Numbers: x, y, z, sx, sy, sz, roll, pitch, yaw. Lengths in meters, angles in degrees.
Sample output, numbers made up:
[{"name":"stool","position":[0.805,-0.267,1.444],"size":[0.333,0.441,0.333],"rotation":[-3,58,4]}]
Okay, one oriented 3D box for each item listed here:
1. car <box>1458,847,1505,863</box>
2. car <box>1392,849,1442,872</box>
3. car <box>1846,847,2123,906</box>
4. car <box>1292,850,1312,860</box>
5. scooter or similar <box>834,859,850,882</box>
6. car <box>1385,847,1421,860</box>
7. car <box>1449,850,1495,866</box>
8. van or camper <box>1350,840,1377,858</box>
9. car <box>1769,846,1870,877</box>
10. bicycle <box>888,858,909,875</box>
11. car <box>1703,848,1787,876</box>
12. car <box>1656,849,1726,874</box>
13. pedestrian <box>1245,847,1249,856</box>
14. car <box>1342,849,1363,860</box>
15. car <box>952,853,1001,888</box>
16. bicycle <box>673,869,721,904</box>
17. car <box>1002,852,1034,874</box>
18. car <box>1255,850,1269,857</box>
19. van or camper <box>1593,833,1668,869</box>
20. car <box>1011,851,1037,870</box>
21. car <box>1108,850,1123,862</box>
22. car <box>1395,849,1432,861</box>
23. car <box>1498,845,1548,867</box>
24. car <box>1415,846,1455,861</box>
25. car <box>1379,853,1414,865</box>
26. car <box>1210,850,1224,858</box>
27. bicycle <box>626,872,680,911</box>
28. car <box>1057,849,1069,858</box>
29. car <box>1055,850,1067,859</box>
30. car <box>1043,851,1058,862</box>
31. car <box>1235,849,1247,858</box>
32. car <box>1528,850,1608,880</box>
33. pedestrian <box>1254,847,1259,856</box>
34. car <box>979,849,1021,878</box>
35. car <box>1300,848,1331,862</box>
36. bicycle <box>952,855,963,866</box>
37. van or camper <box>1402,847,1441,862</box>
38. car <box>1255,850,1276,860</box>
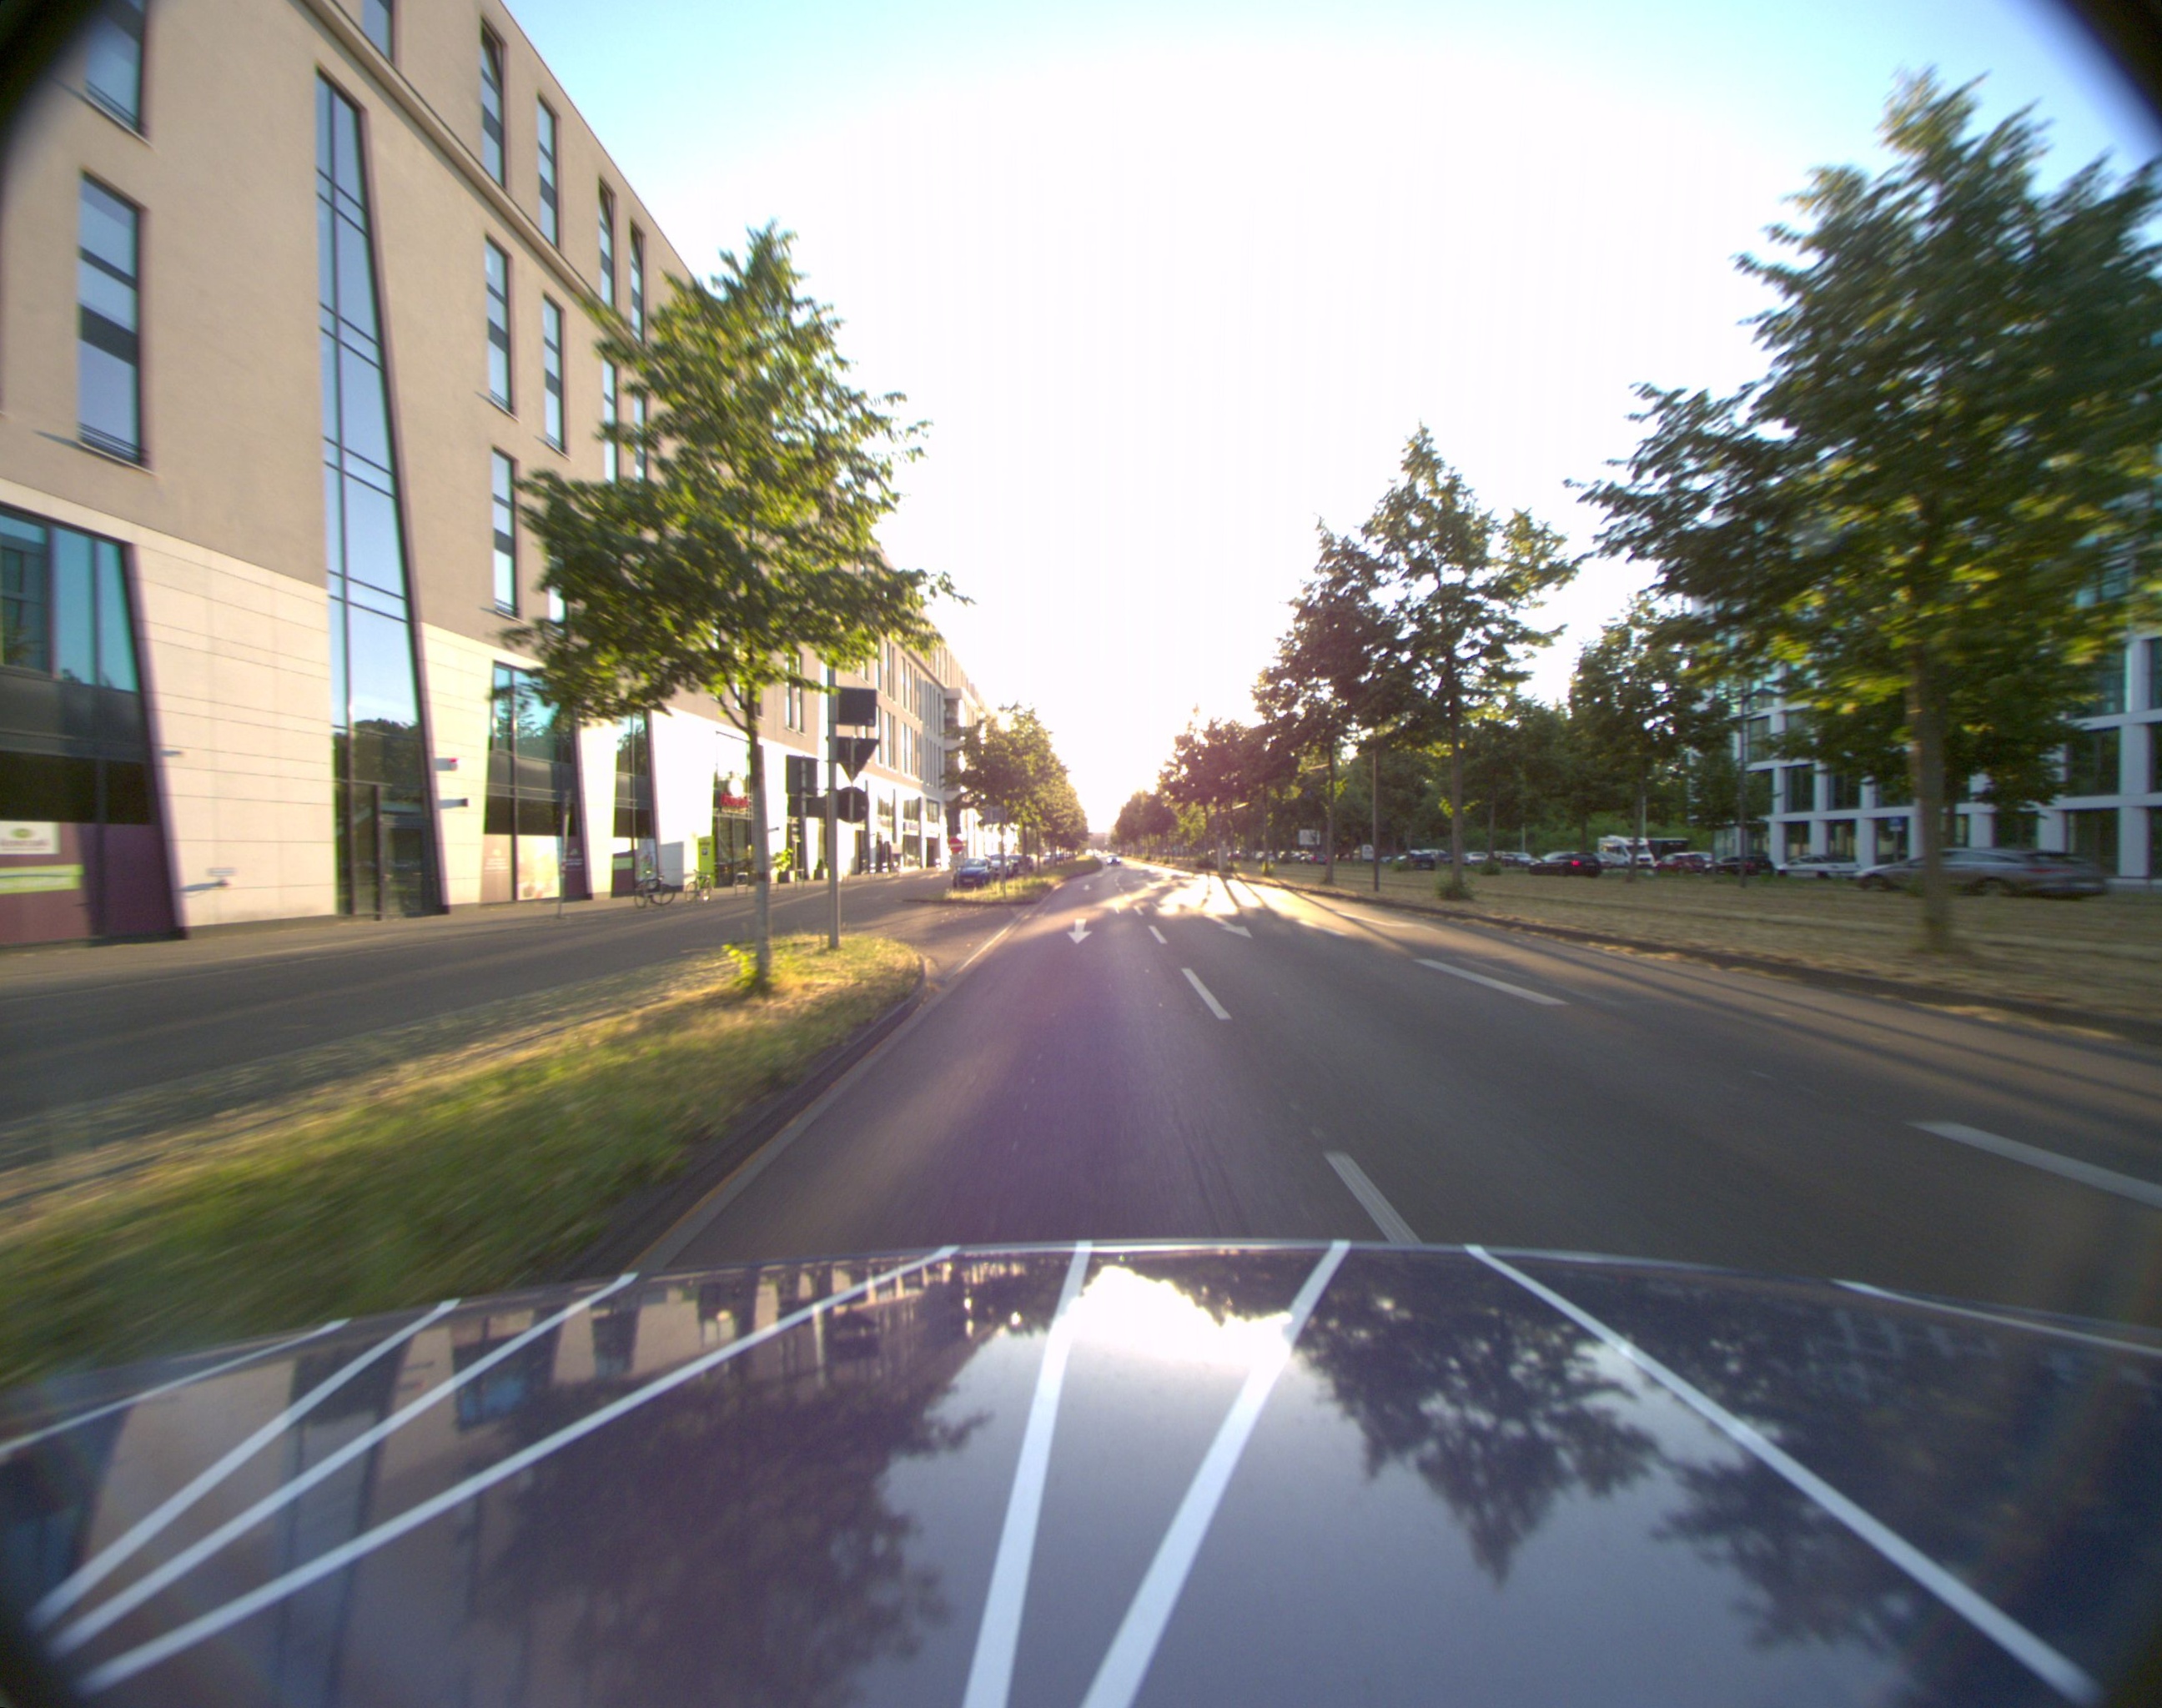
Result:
[{"name":"car","position":[41.994,0.137,79.686],"size":[3.998,1.630,1.921],"rotation":[-1,0,-2]},{"name":"car","position":[23.575,0.431,53.423],"size":[1.807,1.538,3.727],"rotation":[-1,0,0]},{"name":"car","position":[22.876,0.504,19.584],"size":[1.661,1.324,4.584],"rotation":[-1,0,-1]},{"name":"car","position":[36.427,0.145,125.190],"size":[1.998,1.740,4.790],"rotation":[0,0,0]},{"name":"scooter or similar","position":[-12.608,0.850,40.158],"size":[0.357,1.180,1.310],"rotation":[1,1,2]},{"name":"car","position":[43.008,-0.076,101.556],"size":[3.998,1.630,1.921],"rotation":[-1,0,-2]},{"name":"car","position":[42.478,0.439,82.620],"size":[3.998,1.630,1.921],"rotation":[-1,0,-2]},{"name":"van or camper","position":[43.193,-0.736,116.373],"size":[2.090,2.720,5.494],"rotation":[0,1,-1]},{"name":"car","position":[39.838,0.401,41.104],"size":[1.864,1.572,3.784],"rotation":[-1,0,2]},{"name":"bicycle","position":[-12.016,0.805,50.003],"size":[0.571,1.118,1.835],"rotation":[1,0,12]},{"name":"car","position":[39.481,0.471,45.310],"size":[1.864,1.572,3.665],"rotation":[-1,0,2]},{"name":"car","position":[39.856,0.483,49.751],"size":[1.864,1.572,3.492],"rotation":[-1,0,2]},{"name":"pedestrian","position":[32.809,-0.483,150.013],"size":[0.695,1.733,0.866],"rotation":[0,1,-1]},{"name":"car","position":[43.444,0.081,121.617],"size":[1.998,1.740,4.000],"rotation":[0,1,0]},{"name":"car","position":[-5.119,0.772,37.693],"size":[1.728,1.521,4.268],"rotation":[-2,0,1]},{"name":"bicycle","position":[-12.707,1.049,25.190],"size":[0.519,1.055,1.960],"rotation":[2,1,3]},{"name":"car","position":[-4.644,0.645,56.587],"size":[1.859,1.521,4.482],"rotation":[-2,0,1]},{"name":"car","position":[36.296,-0.120,152.307],"size":[1.904,1.491,4.306],"rotation":[0,0,2]},{"name":"van or camper","position":[50.199,-0.287,69.591],"size":[2.716,3.067,6.264],"rotation":[-1,0,5]},{"name":"car","position":[-4.737,0.525,63.827],"size":[1.948,1.540,4.811],"rotation":[0,0,-1]},{"name":"car","position":[4.601,0.295,102.615],"size":[1.828,1.625,4.000],"rotation":[-1,0,0]},{"name":"car","position":[43.521,0.121,99.410],"size":[3.998,1.630,1.921],"rotation":[-1,0,-2]},{"name":"car","position":[42.580,0.180,73.358],"size":[1.998,2.002,4.931],"rotation":[0,0,0]},{"name":"car","position":[43.422,-0.032,93.181],"size":[3.996,1.834,2.012],"rotation":[-1,0,1]},{"name":"car","position":[43.445,0.719,104.775],"size":[3.996,1.630,1.922],"rotation":[-1,0,2]},{"name":"car","position":[26.067,0.049,146.137],"size":[1.890,1.569,4.181],"rotation":[0,0,-1]},{"name":"bicycle","position":[-12.677,1.089,22.546],"size":[0.447,1.066,1.774],"rotation":[2,1,5]},{"name":"car","position":[-3.336,-0.065,141.406],"size":[1.958,1.614,4.820],"rotation":[-3,0,0]},{"name":"car","position":[-3.513,0.030,133.825],"size":[1.728,1.492,4.233],"rotation":[-2,0,1]},{"name":"car","position":[-4.296,0.336,107.143],"size":[1.813,1.492,4.825],"rotation":[-1,0,0]},{"name":"car","position":[25.608,-0.139,121.726],"size":[1.463,1.390,2.938],"rotation":[-1,0,3]},{"name":"car","position":[26.425,0.555,41.426],"size":[1.661,1.493,4.189],"rotation":[-1,0,-1]},{"name":"pedestrian","position":[34.518,-0.479,149.299],"size":[0.695,1.859,0.865],"rotation":[-1,1,-7]},{"name":"car","position":[-5.206,0.571,49.420],"size":[1.956,1.704,5.159],"rotation":[-2,0,2]},{"name":"car","position":[24.211,0.085,78.515],"size":[1.661,1.324,4.741],"rotation":[0,0,-1]},{"name":"bicycle","position":[-11.490,0.597,70.922],"size":[0.654,1.033,2.055],"rotation":[-1,0,1]},{"name":"van or camper","position":[43.120,0.065,96.276],"size":[4.000,1.780,1.998],"rotation":[0,0,-9]},{"name":"car","position":[24.324,0.103,100.377],"size":[1.661,1.324,4.529],"rotation":[0,0,-1]}]
